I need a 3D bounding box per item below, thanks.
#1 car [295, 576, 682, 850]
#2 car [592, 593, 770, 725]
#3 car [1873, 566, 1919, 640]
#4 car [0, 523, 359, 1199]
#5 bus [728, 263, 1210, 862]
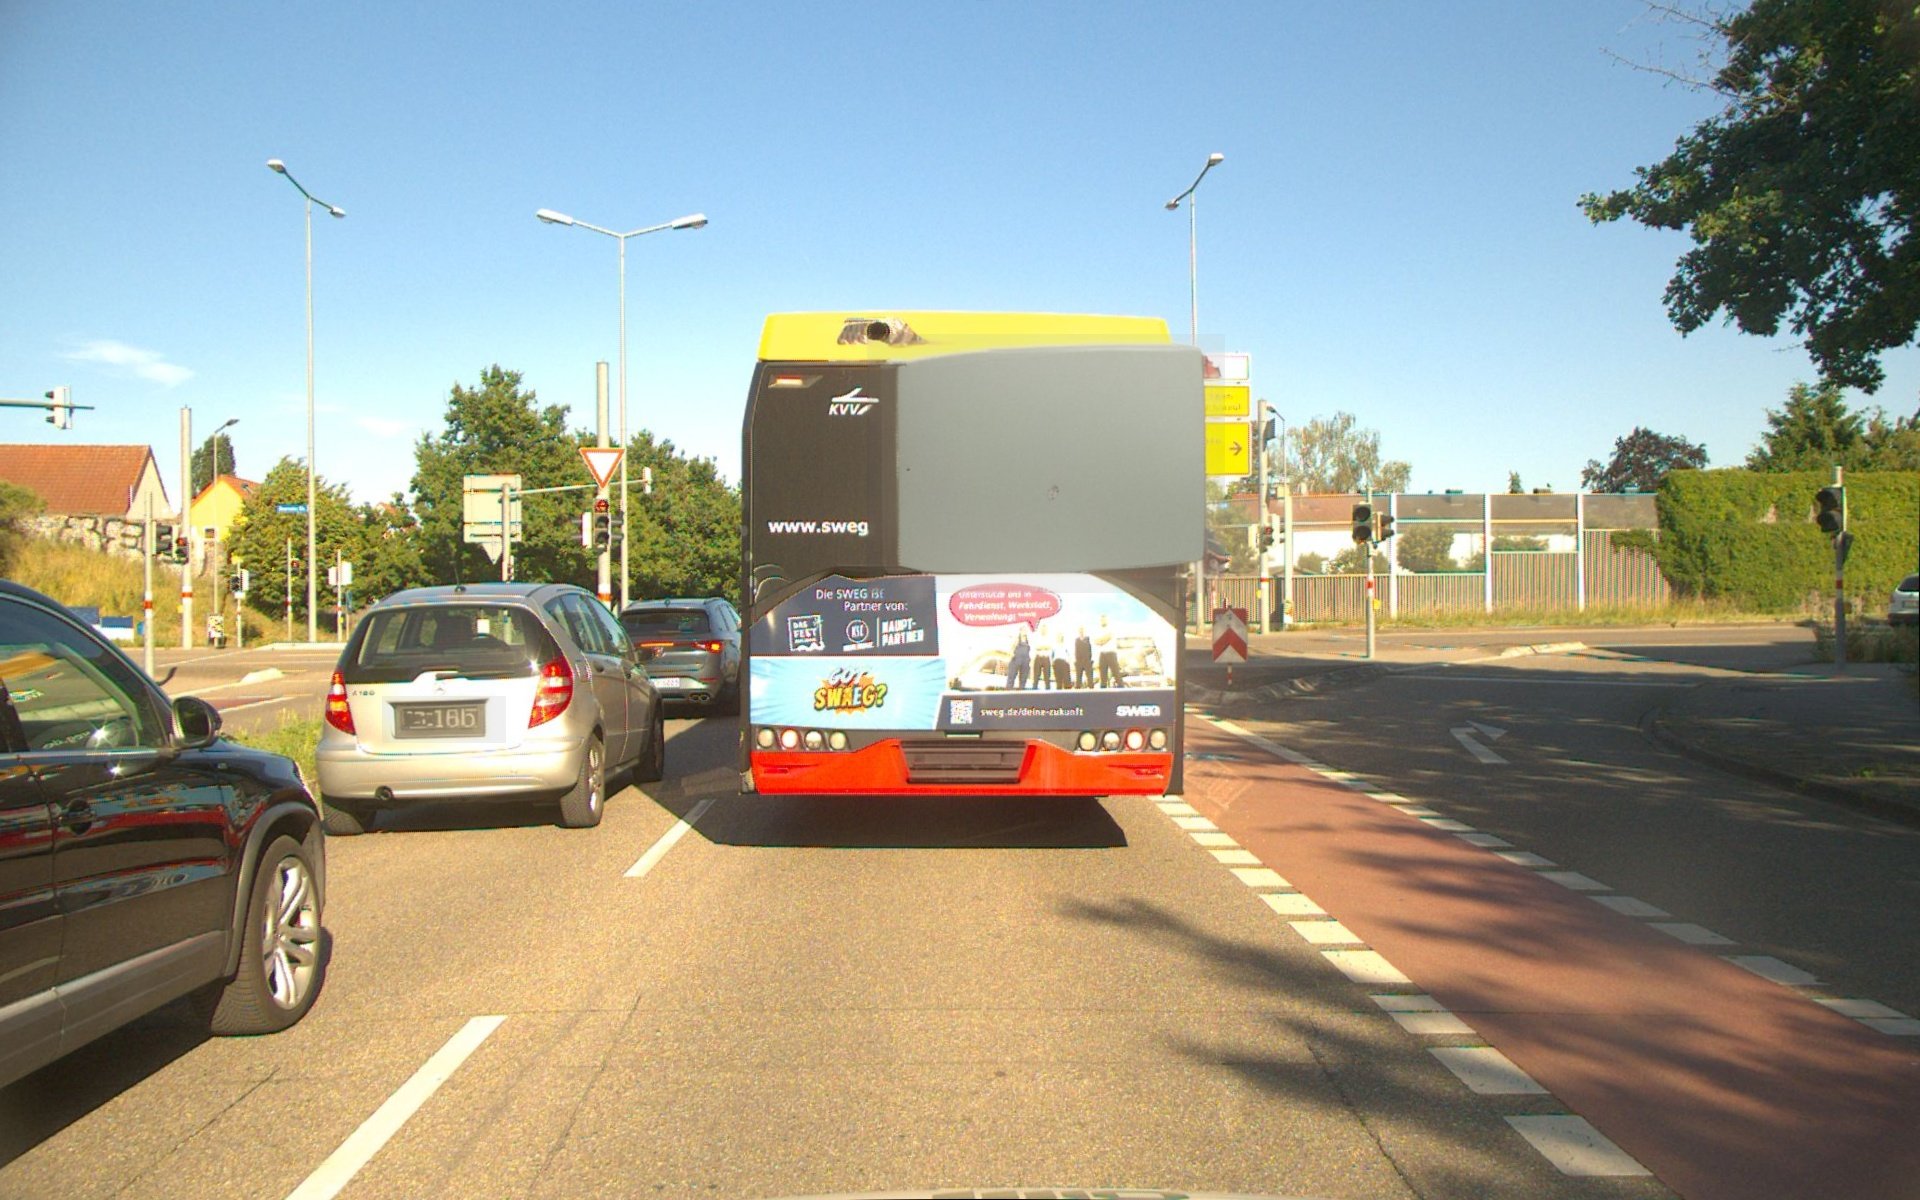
[{"bbox_3d":[-3.221,0.681,12.132,1.725,1.617,3.999,-2,0,-1],"label":"car"},{"bbox_3d":[-3.453,0.676,21.060,1.658,1.484,3.750,-2,0,-1],"label":"car"},{"bbox_3d":[23.394,0.019,38.253,3.991,1.635,1.715,-2,1,-18],"label":"car"},{"bbox_3d":[-3.148,0.687,4.305,1.736,1.682,3.999,-2,0,-1],"label":"car"},{"bbox_3d":[0.017,-0.254,14.895,2.589,3.222,11.860,0,0,0],"label":"bus"}]
